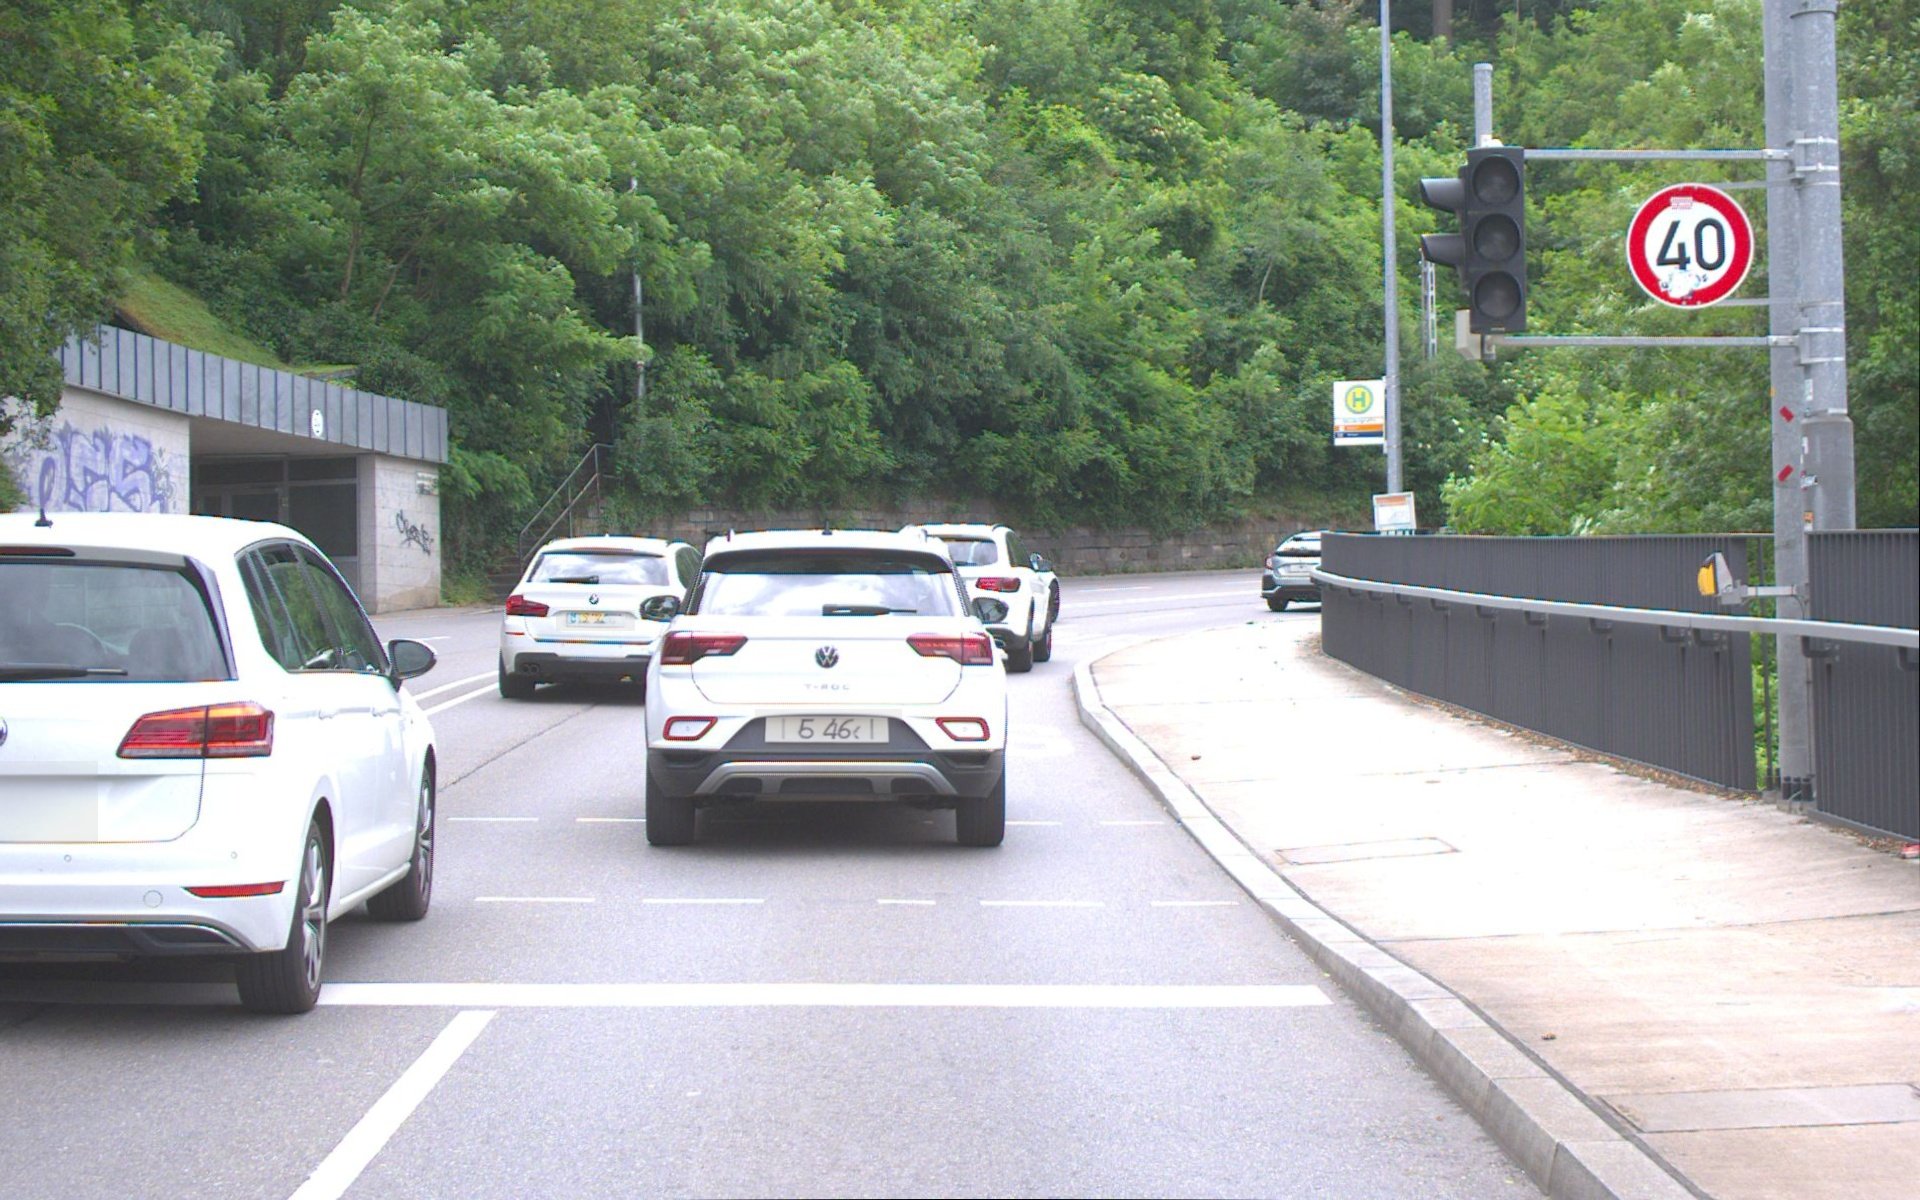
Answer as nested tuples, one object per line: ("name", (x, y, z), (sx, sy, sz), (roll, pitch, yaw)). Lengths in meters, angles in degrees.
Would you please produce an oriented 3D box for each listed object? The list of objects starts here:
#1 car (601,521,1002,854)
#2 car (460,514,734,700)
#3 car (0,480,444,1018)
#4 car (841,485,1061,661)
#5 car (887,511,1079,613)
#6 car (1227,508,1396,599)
("car", (-0.716, 0.380, 18.060), (1.814, 1.534, 4.008), (-1, 1, 1))
("car", (-3.270, 0.006, 31.869), (1.993, 1.552, 4.681), (1, 1, 0))
("car", (-2.948, 0.381, 12.067), (1.720, 1.549, 4.276), (1, 1, -1))
("car", (-0.039, -0.318, 39.458), (1.994, 1.837, 4.149), (2, 1, 6))
("car", (0.412, -0.590, 54.798), (1.743, 1.514, 4.305), (2, 1, 19))
("car", (6.383, -0.824, 62.049), (2.034, 1.514, 4.196), (2, 1, 20))
